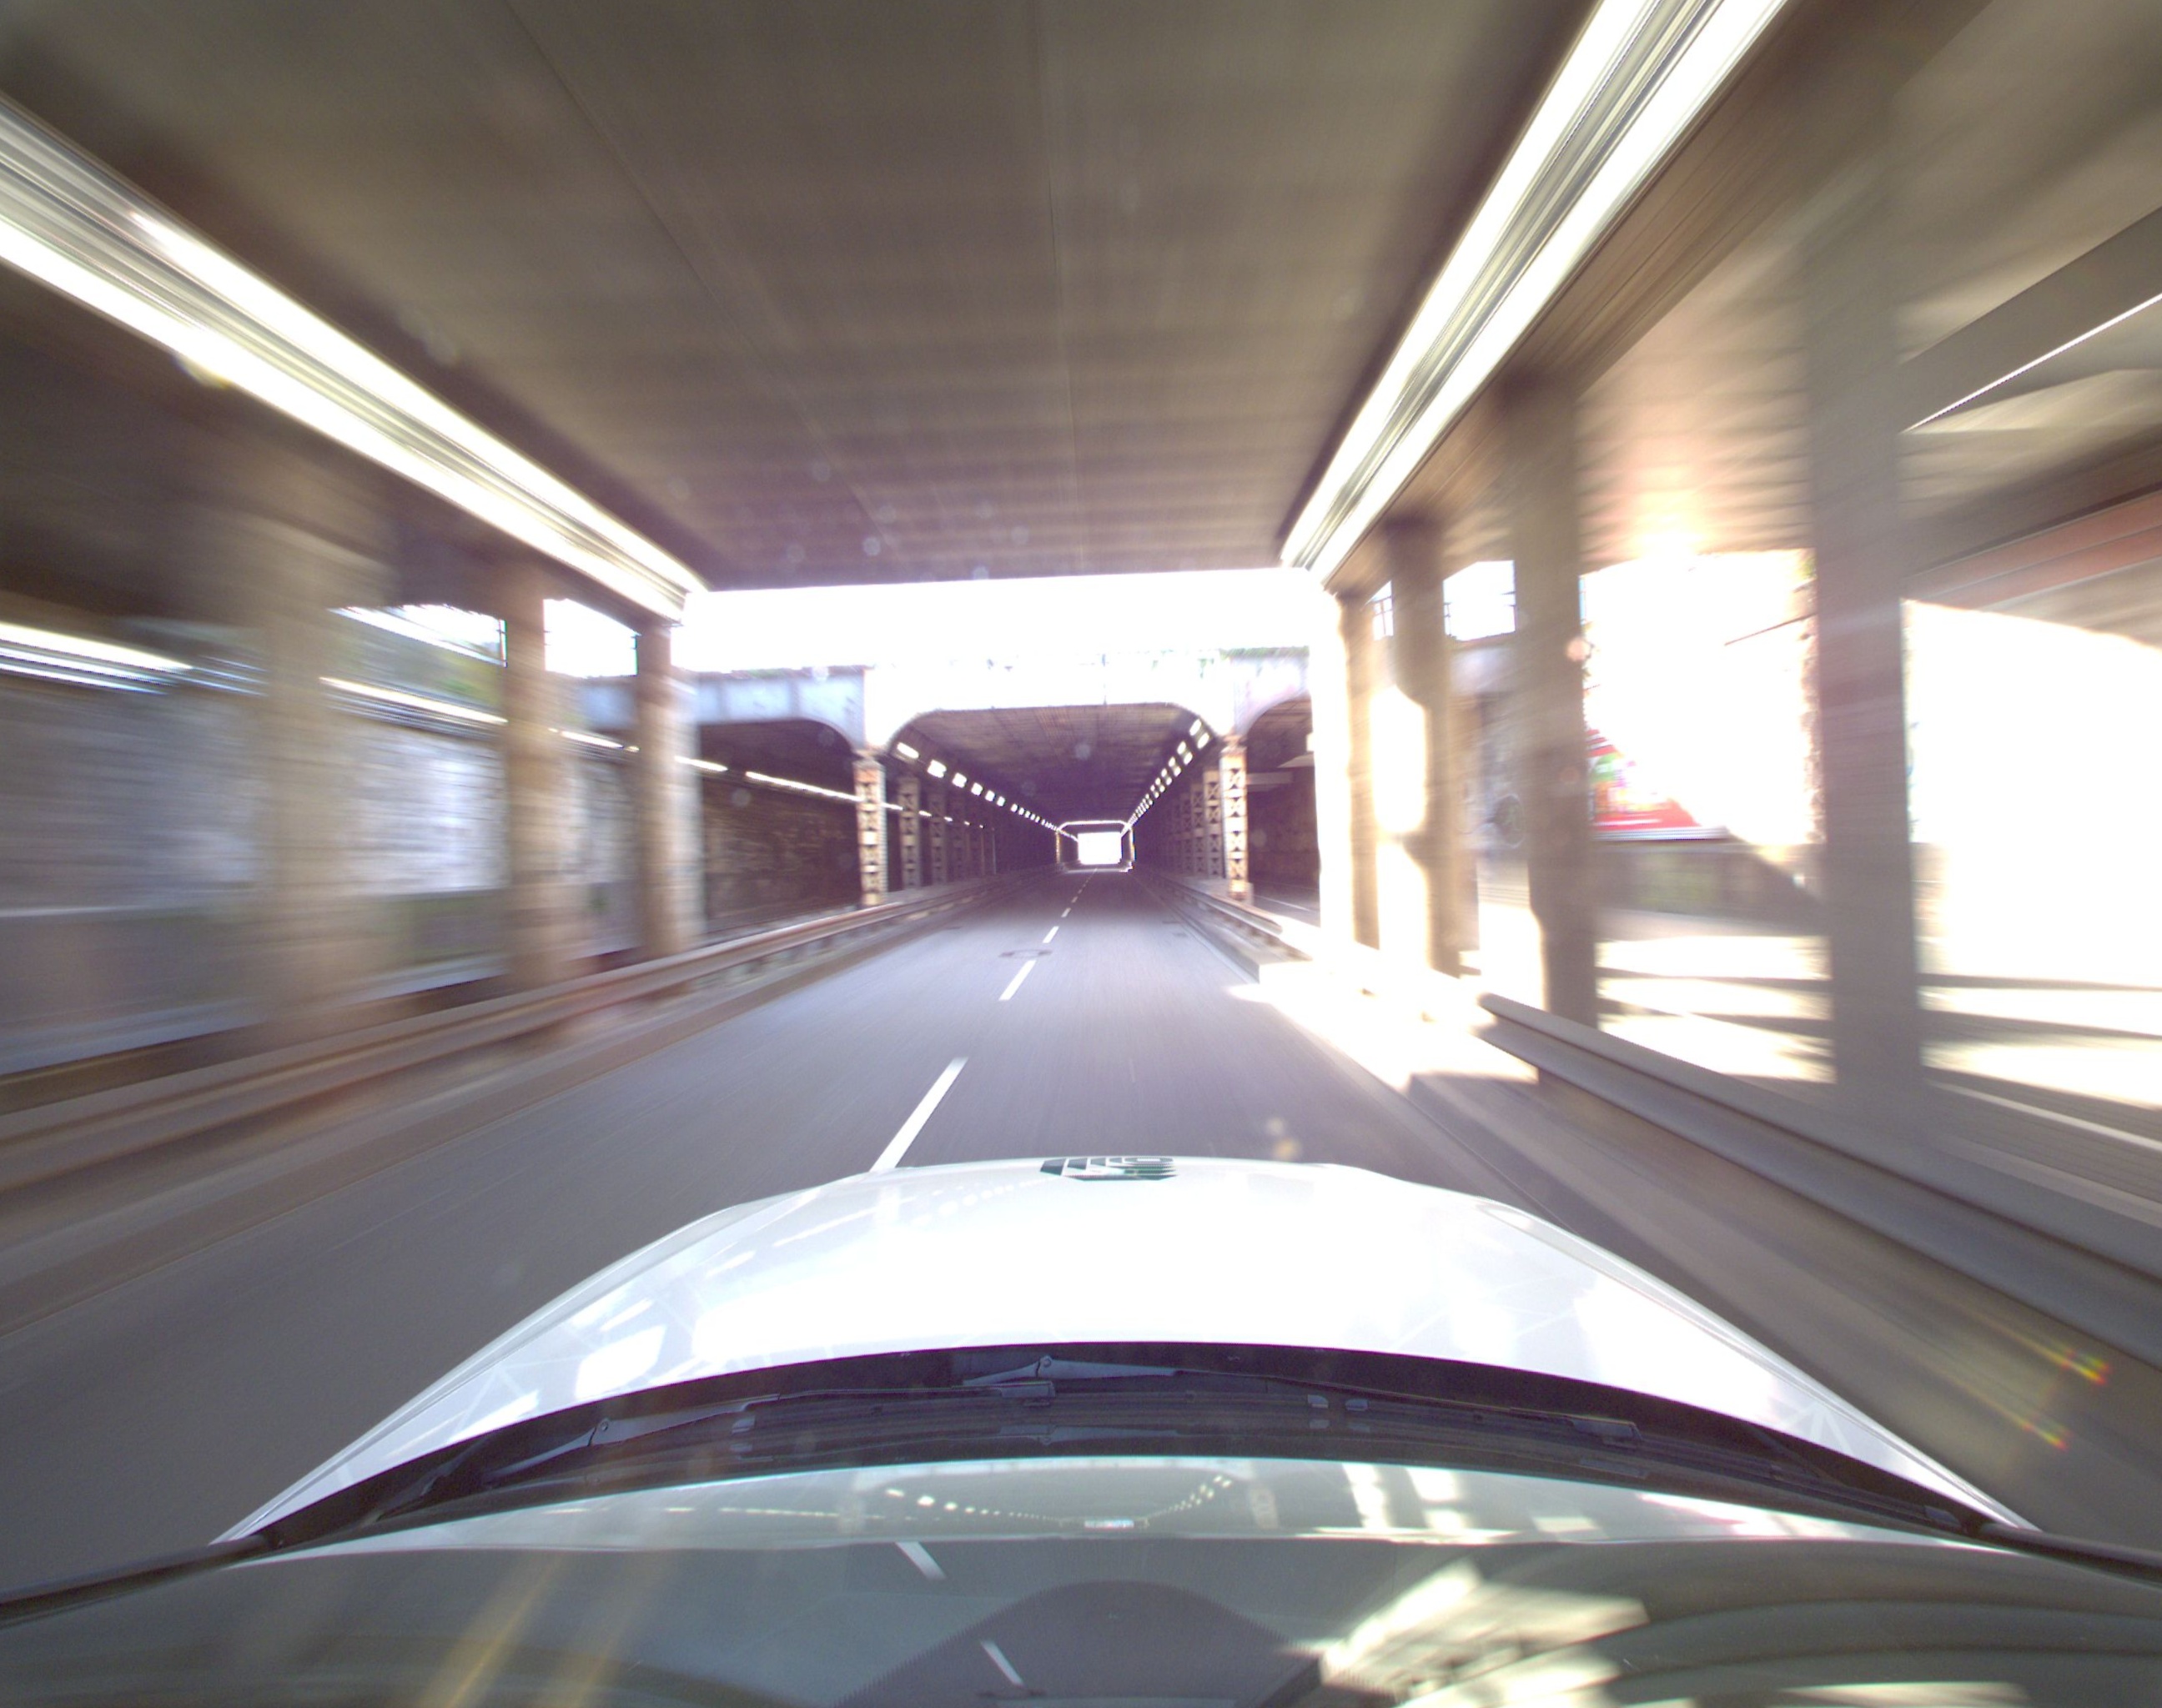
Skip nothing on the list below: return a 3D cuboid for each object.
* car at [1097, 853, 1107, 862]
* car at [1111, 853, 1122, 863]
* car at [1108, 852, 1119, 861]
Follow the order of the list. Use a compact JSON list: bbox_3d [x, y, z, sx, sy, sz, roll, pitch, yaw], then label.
[{"bbox_3d":[4.366,0.783,171.550,1.986,1.784,4.002,-2,0,2],"label":"car"},{"bbox_3d":[6.690,0.741,155.679,1.986,1.784,4.002,-2,0,2],"label":"car"},{"bbox_3d":[6.556,0.560,164.919,1.986,1.784,4.002,-2,0,2],"label":"car"}]
